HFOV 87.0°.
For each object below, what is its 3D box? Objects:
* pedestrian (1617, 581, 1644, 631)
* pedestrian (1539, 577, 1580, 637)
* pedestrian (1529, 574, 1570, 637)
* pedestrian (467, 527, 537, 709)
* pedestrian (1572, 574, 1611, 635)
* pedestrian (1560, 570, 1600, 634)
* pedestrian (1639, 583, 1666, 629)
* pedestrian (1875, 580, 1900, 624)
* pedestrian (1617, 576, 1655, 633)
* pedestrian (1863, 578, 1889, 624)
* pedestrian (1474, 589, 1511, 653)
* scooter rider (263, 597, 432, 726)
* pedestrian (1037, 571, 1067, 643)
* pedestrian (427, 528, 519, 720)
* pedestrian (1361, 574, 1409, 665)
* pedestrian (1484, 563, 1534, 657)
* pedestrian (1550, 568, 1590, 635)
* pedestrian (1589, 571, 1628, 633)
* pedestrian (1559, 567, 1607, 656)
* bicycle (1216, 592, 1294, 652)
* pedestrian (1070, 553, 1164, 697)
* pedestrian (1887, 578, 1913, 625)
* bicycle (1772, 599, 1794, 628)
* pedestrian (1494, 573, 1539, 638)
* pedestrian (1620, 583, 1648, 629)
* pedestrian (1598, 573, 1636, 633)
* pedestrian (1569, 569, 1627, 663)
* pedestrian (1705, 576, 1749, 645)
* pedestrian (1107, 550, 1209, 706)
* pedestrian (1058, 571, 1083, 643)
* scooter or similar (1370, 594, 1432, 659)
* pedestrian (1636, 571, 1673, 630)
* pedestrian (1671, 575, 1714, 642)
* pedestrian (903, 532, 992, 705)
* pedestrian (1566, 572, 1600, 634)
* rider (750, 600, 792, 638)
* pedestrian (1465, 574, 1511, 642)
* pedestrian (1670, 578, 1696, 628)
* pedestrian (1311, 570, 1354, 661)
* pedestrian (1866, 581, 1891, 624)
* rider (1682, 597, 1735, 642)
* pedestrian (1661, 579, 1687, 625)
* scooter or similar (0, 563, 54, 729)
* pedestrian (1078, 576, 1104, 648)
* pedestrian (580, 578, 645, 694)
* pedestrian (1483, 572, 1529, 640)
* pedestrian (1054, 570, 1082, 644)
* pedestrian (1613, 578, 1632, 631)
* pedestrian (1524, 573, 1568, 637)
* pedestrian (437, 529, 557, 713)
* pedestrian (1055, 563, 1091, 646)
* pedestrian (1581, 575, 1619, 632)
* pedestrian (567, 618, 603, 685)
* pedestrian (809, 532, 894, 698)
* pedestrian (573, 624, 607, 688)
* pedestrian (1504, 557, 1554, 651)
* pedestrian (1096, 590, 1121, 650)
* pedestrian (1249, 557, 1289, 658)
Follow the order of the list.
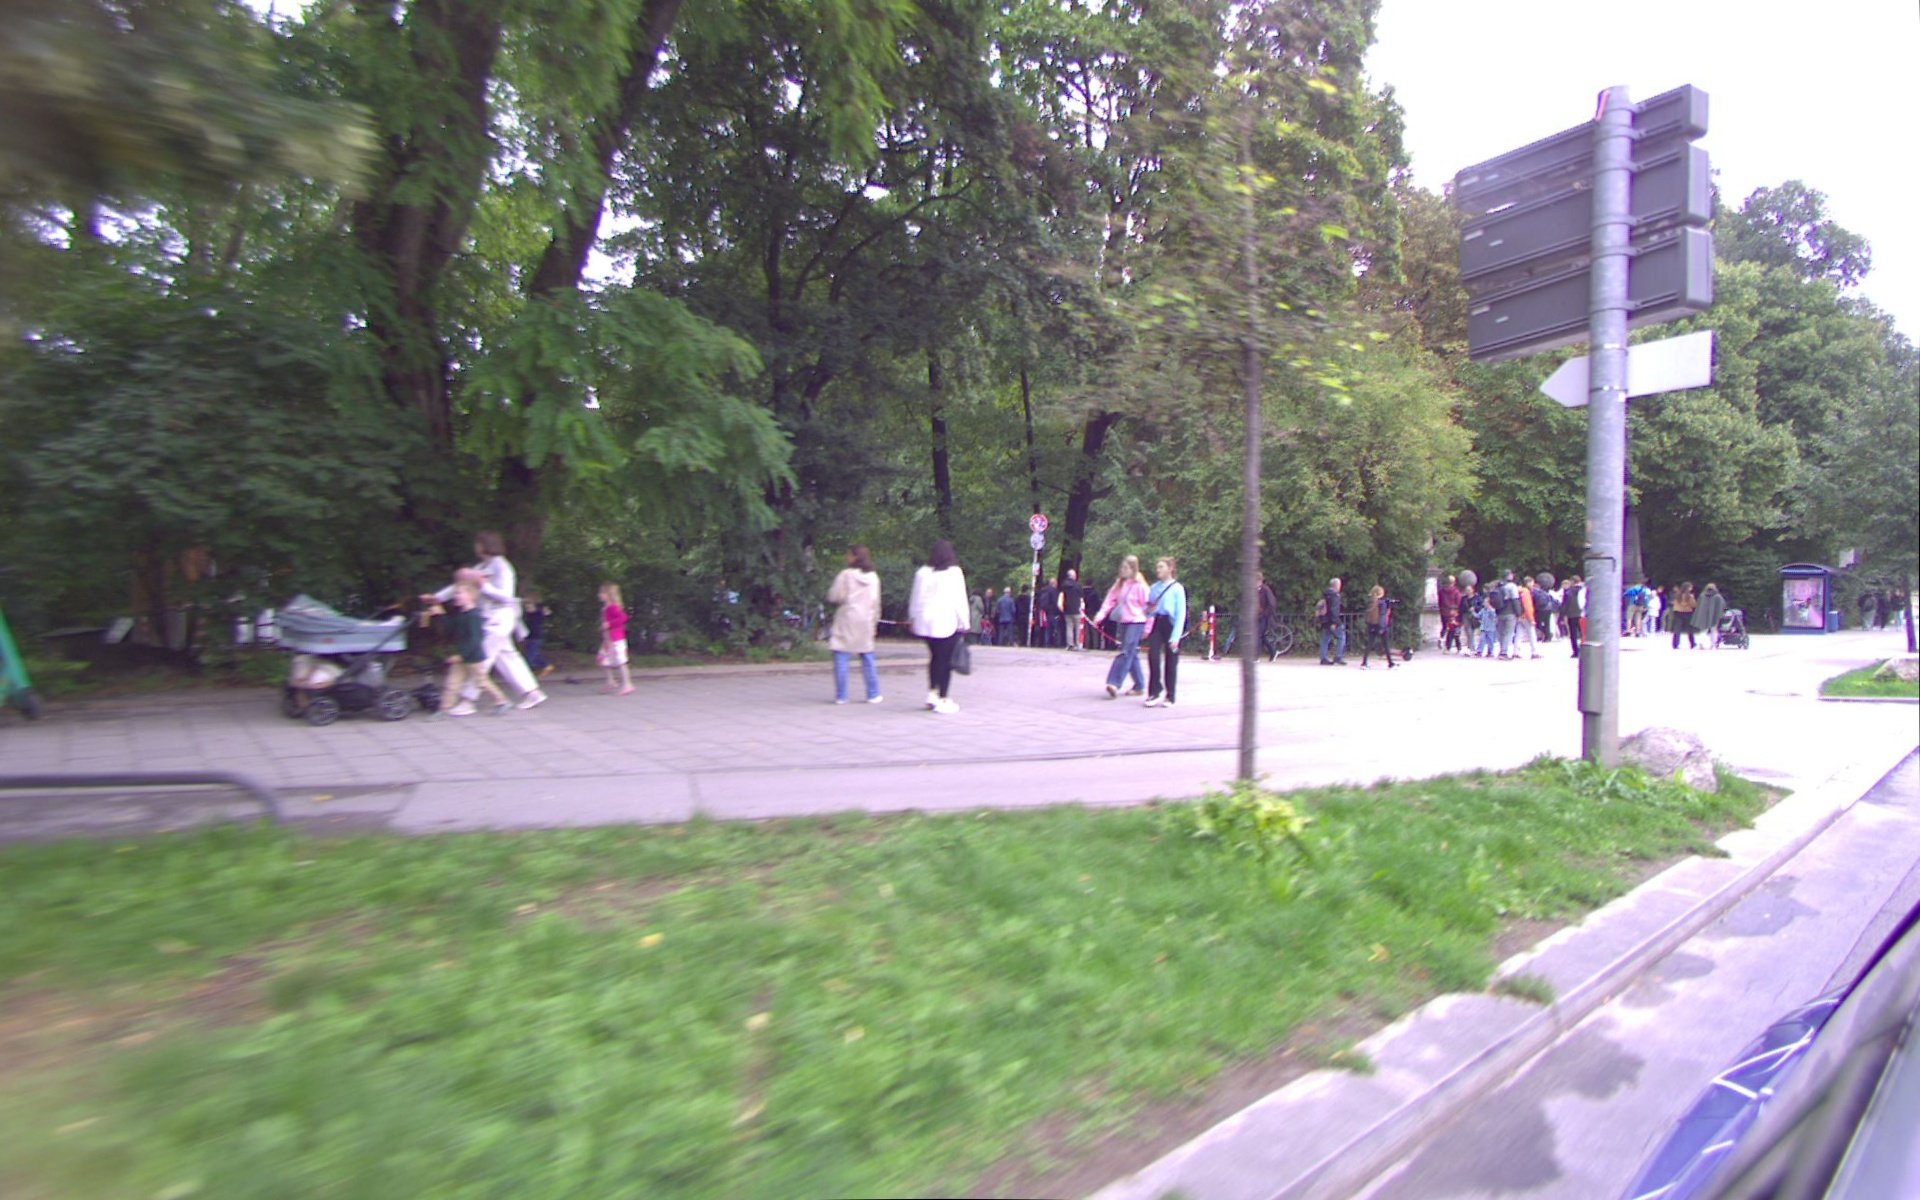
[{"bbox_3d":[22.417,0.204,33.833,0.523,1.637,0.637,0,0,-38],"label":"pedestrian"},{"bbox_3d":[17.324,0.197,29.255,0.715,1.712,0.814,0,0,-38],"label":"pedestrian"},{"bbox_3d":[16.766,0.161,28.795,0.715,1.761,0.814,0,0,-38],"label":"pedestrian"},{"bbox_3d":[-4.162,0.154,9.194,0.561,1.586,0.487,0,0,-26],"label":"pedestrian"},{"bbox_3d":[19.103,0.126,30.610,0.715,1.813,0.814,0,0,-38],"label":"pedestrian"},{"bbox_3d":[18.484,0.056,30.181,0.715,1.898,0.814,0,0,-38],"label":"pedestrian"},{"bbox_3d":[23.522,0.198,34.375,0.523,1.526,0.637,0,0,-38],"label":"pedestrian"},{"bbox_3d":[39.652,0.079,43.263,0.628,1.831,0.709,0,0,-41],"label":"pedestrian"},{"bbox_3d":[21.596,0.143,32.323,0.715,1.790,0.814,0,0,-38],"label":"pedestrian"},{"bbox_3d":[39.410,0.037,43.547,0.940,1.939,0.709,0,0,-41],"label":"pedestrian"},{"bbox_3d":[11.416,0.432,21.681,0.636,1.343,0.459,0,0,-36],"label":"pedestrian"},{"bbox_3d":[-5.166,0.479,8.537,1.095,0.997,0.857,0,-1,-41],"label":"scooter rider"},{"bbox_3d":[2.289,0.169,25.331,0.540,1.785,0.612,0,0,-19],"label":"pedestrian"},{"bbox_3d":[-4.106,0.191,8.517,0.552,1.534,0.682,0,0,-40],"label":"pedestrian"},{"bbox_3d":[7.580,0.341,18.070,0.683,1.598,0.609,0,0,14],"label":"pedestrian"},{"bbox_3d":[11.337,0.196,20.918,0.678,1.896,0.612,0,0,-24],"label":"pedestrian"},{"bbox_3d":[17.898,0.049,29.708,0.715,1.941,0.814,0,0,-38],"label":"pedestrian"},{"bbox_3d":[20.194,0.059,31.506,0.715,1.875,0.814,0,0,-38],"label":"pedestrian"},{"bbox_3d":[13.515,0.252,21.963,0.678,1.896,0.612,0,0,-24],"label":"pedestrian"},{"bbox_3d":[6.366,0.465,21.837,1.581,1.255,0.389,0,0,22],"label":"bicycle"},{"bbox_3d":[1.893,0.289,12.263,0.832,1.664,0.758,0,0,-25],"label":"pedestrian"},{"bbox_3d":[40.075,0.062,43.127,0.940,1.939,0.709,0,0,-41],"label":"pedestrian"},{"bbox_3d":[31.131,0.517,38.261,1.549,1.074,0.393,0,-1,-42],"label":"bicycle"},{"bbox_3d":[14.903,0.132,27.105,0.715,1.712,0.814,0,1,-38],"label":"pedestrian"},{"bbox_3d":[22.804,0.201,34.245,0.523,1.526,0.637,0,0,-38],"label":"pedestrian"},{"bbox_3d":[20.789,0.086,32.027,0.715,1.875,0.814,0,0,-38],"label":"pedestrian"},{"bbox_3d":[11.990,0.293,19.034,0.636,1.712,0.728,0,0,-36],"label":"pedestrian"},{"bbox_3d":[19.427,0.251,25.627,0.636,1.712,0.728,0,0,-36],"label":"pedestrian"},{"bbox_3d":[2.211,0.292,11.333,0.832,1.664,0.758,0,0,-25],"label":"pedestrian"},{"bbox_3d":[2.783,0.167,25.579,0.427,1.785,0.528,0,0,-19],"label":"pedestrian"},{"bbox_3d":[8.993,0.523,20.703,0.341,1.272,1.570,0,0,-10],"label":"scooter or similar"},{"bbox_3d":[22.359,0.020,32.576,0.715,1.852,0.814,0,0,-38],"label":"pedestrian"},{"bbox_3d":[19.006,0.214,26.252,0.636,1.712,0.728,0,0,-36],"label":"pedestrian"},{"bbox_3d":[-0.136,0.176,10.199,0.637,1.664,0.758,0,0,-25],"label":"pedestrian"},{"bbox_3d":[17.514,0.092,28.457,0.715,1.712,0.593,0,0,-38],"label":"pedestrian"},{"bbox_3d":[-4.861,0.487,26.021,0.884,0.953,0.605,0,0,31],"label":"rider"},{"bbox_3d":[13.561,0.197,25.990,0.715,1.712,0.814,0,0,-38],"label":"pedestrian"},{"bbox_3d":[26.190,0.092,36.644,0.523,1.790,0.637,0,0,-38],"label":"pedestrian"},{"bbox_3d":[6.935,0.280,18.862,0.683,1.672,0.608,0,0,16],"label":"pedestrian"},{"bbox_3d":[40.076,0.094,44.152,0.933,1.831,0.709,0,0,-41],"label":"pedestrian"},{"bbox_3d":[19.561,0.497,26.443,1.221,1.126,0.767,0,0,-36],"label":"rider"},{"bbox_3d":[25.644,0.066,36.334,0.523,1.647,0.637,0,0,-38],"label":"pedestrian"},{"bbox_3d":[-7.428,0.339,7.388,1.197,1.214,0.418,0,0,-41],"label":"scooter or similar"},{"bbox_3d":[3.246,0.291,25.120,0.507,1.785,0.409,0,0,-19],"label":"pedestrian"},{"bbox_3d":[-3.593,0.356,10.448,0.561,1.151,0.634,0,0,-25],"label":"pedestrian"},{"bbox_3d":[14.330,0.145,26.579,0.715,1.711,0.814,0,2,-38],"label":"pedestrian"},{"bbox_3d":[2.657,0.170,24.842,0.556,1.785,0.522,0,0,-10],"label":"pedestrian"},{"bbox_3d":[21.727,0.153,33.196,0.434,1.725,0.421,0,-1,-39],"label":"pedestrian"},{"bbox_3d":[16.285,0.122,28.145,0.715,1.711,0.814,0,2,-38],"label":"pedestrian"},{"bbox_3d":[-4.240,0.177,9.274,0.857,1.586,0.682,0,0,-40],"label":"pedestrian"},{"bbox_3d":[2.413,0.094,21.494,0.683,1.717,0.609,0,0,14],"label":"pedestrian"},{"bbox_3d":[19.646,0.095,31.058,0.661,1.712,0.814,0,0,-38],"label":"pedestrian"},{"bbox_3d":[-9.828,1.327,26.546,0.683,1.717,0.609,0,0,14],"label":"pedestrian"},{"bbox_3d":[-1.153,0.143,10.639,0.676,1.664,0.758,0,0,-25],"label":"pedestrian"},{"bbox_3d":[-10.247,1.540,28.045,0.687,1.717,0.605,0,0,30],"label":"pedestrian"},{"bbox_3d":[11.956,0.078,21.276,0.678,1.939,0.612,0,0,-24],"label":"pedestrian"},{"bbox_3d":[3.776,0.504,25.714,0.507,1.492,0.409,0,0,-19],"label":"pedestrian"},{"bbox_3d":[5.927,0.148,19.423,0.683,1.896,0.609,0,0,14],"label":"pedestrian"}]
